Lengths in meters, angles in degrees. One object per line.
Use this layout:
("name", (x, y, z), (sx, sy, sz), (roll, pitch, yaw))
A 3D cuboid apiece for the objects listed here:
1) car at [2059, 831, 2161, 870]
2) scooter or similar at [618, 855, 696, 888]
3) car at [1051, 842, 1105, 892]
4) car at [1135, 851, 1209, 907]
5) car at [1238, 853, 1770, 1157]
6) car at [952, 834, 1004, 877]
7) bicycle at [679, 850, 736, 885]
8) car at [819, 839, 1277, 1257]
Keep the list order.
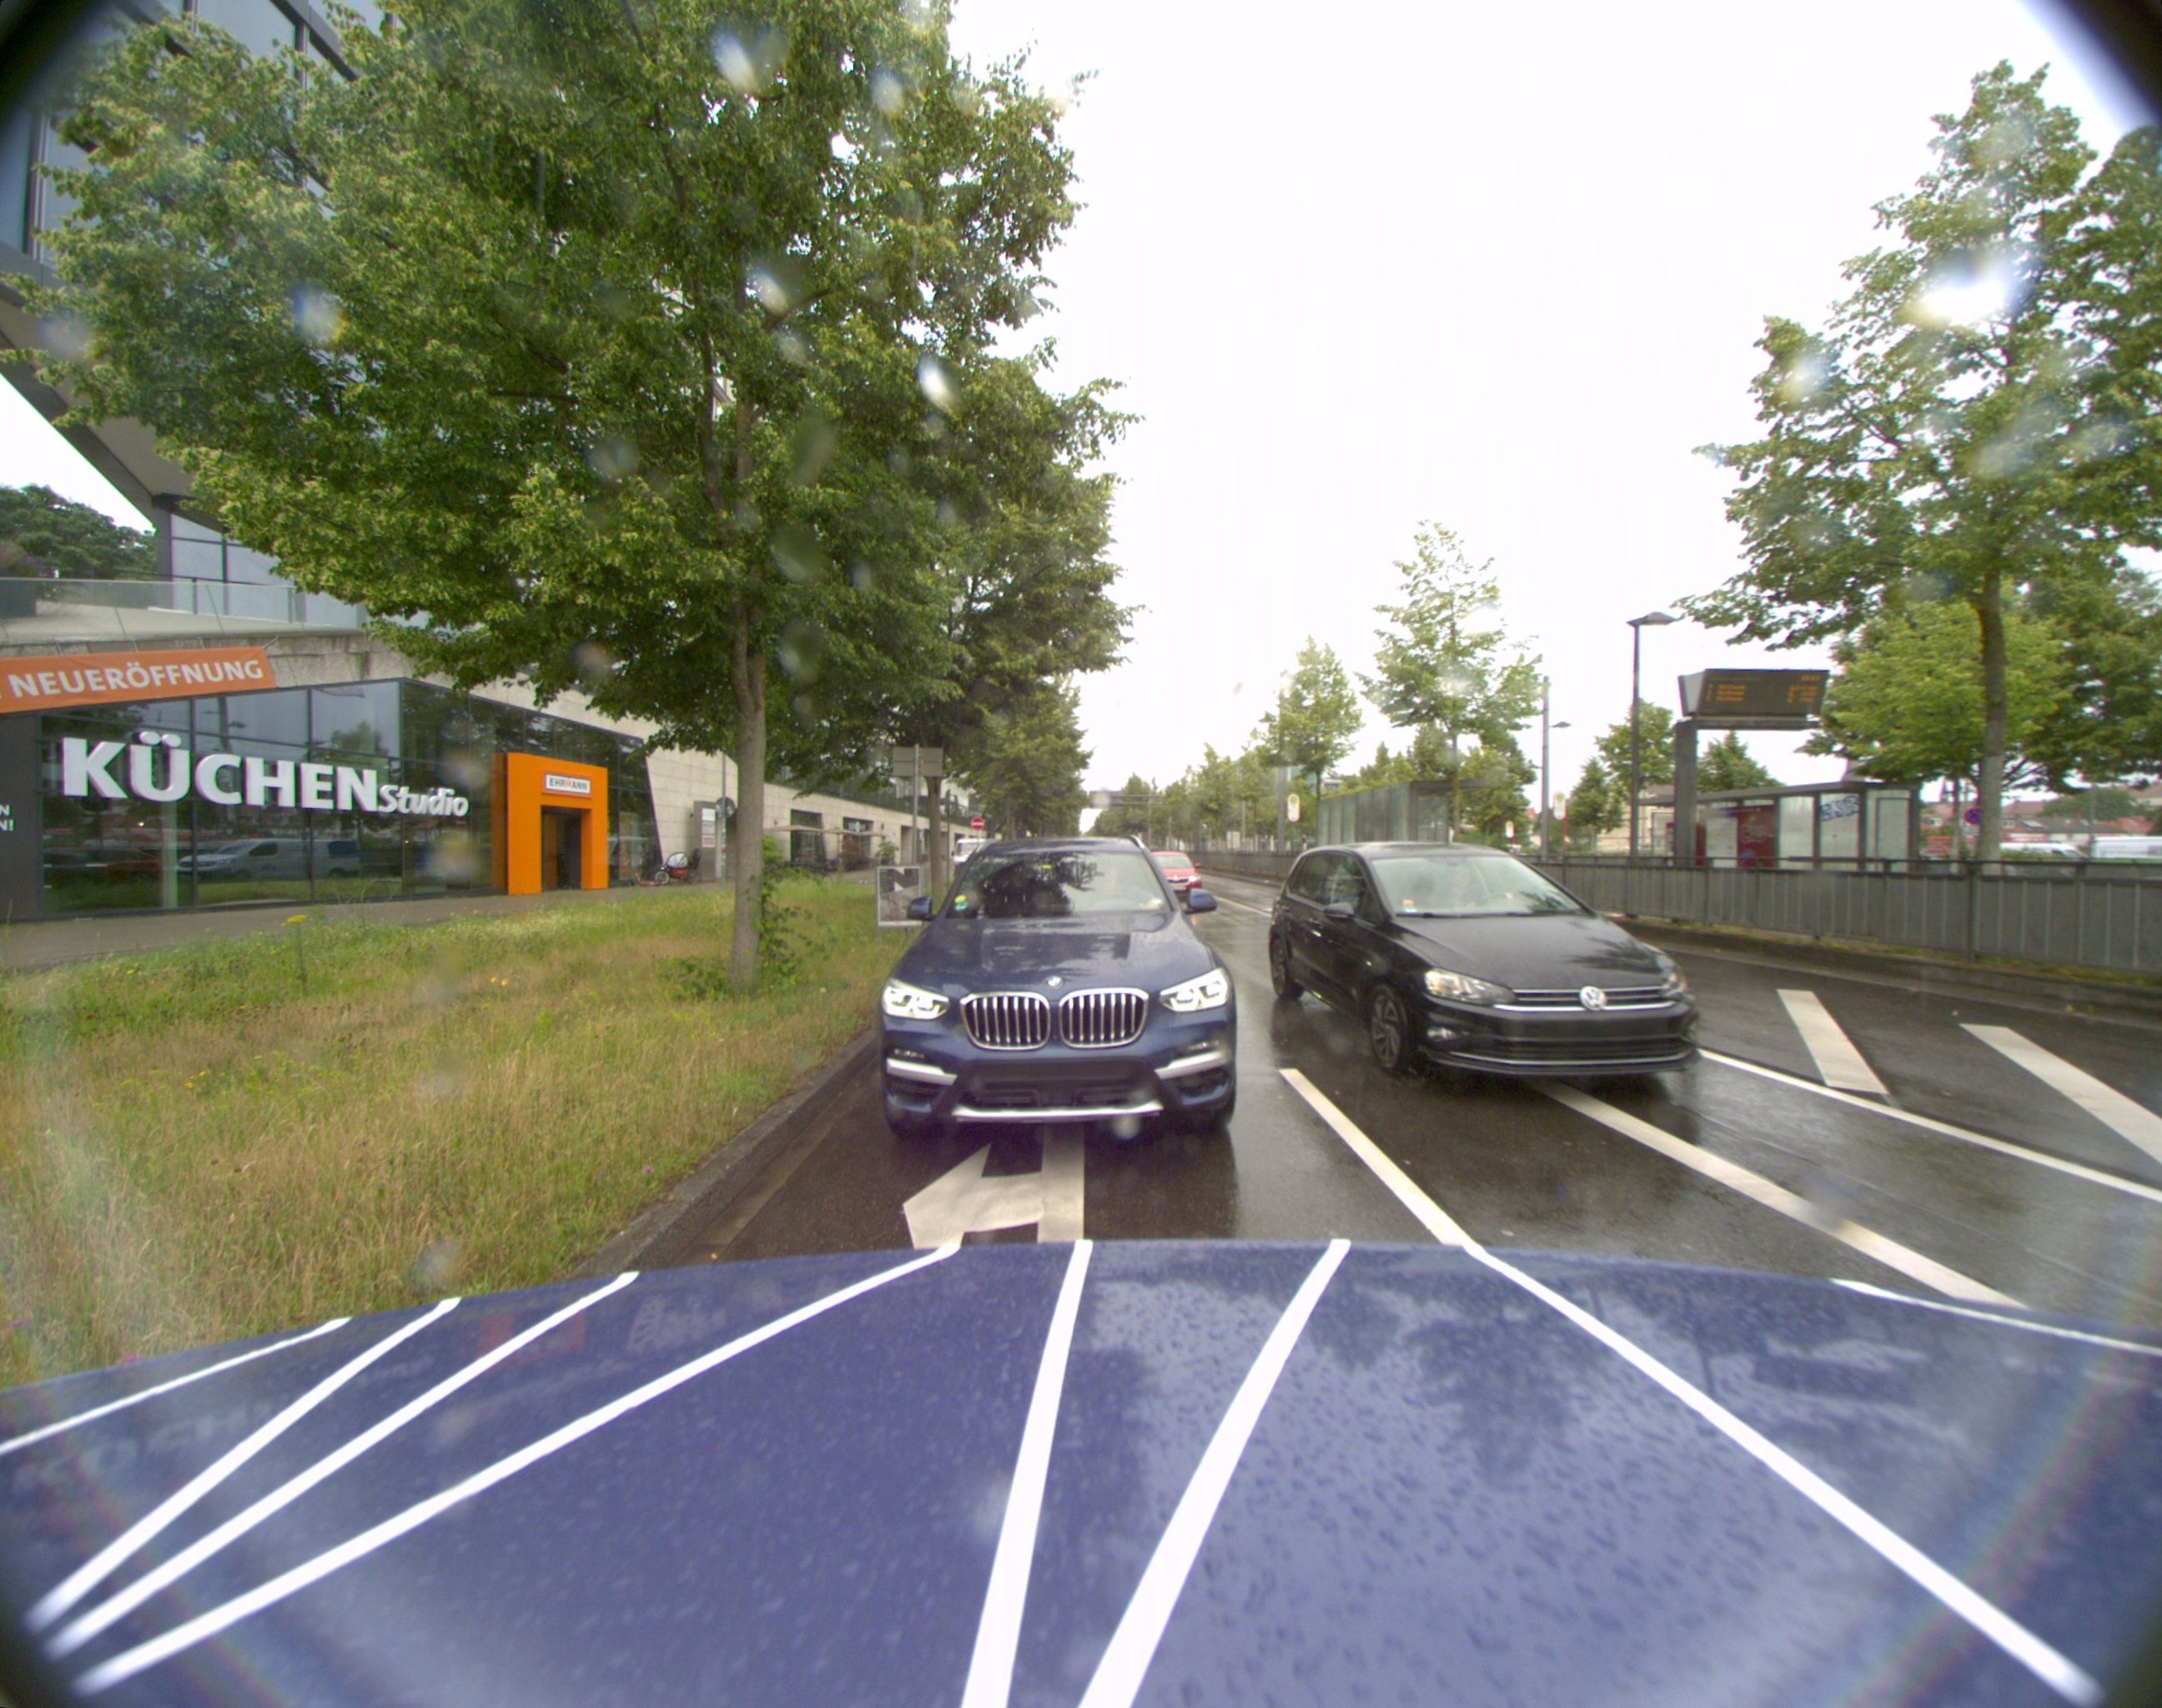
("car", (70.148, -0.257, 49.658), (2.356, 2.462, 7.636), (-2, 1, -3))
("scooter or similar", (-15.665, 0.640, 28.193), (0.810, 1.093, 2.617), (-2, 1, 18))
("car", (-0.064, 0.422, 27.983), (1.788, 1.638, 3.999), (-2, 1, 1))
("car", (2.688, 0.694, 23.336), (1.788, 1.450, 4.315), (-2, 1, 1))
("car", (2.722, 0.801, 6.217), (1.788, 1.509, 4.331), (-2, 1, -2))
("car", (-5.806, 0.051, 43.481), (2.084, 2.189, 5.097), (-2, 1, 1))
("bicycle", (-15.299, 0.534, 31.224), (0.882, 1.339, 2.696), (-2, 1, 1))
("car", (-0.115, 0.872, 5.472), (1.916, 1.736, 4.384), (-2, -1, 1))
